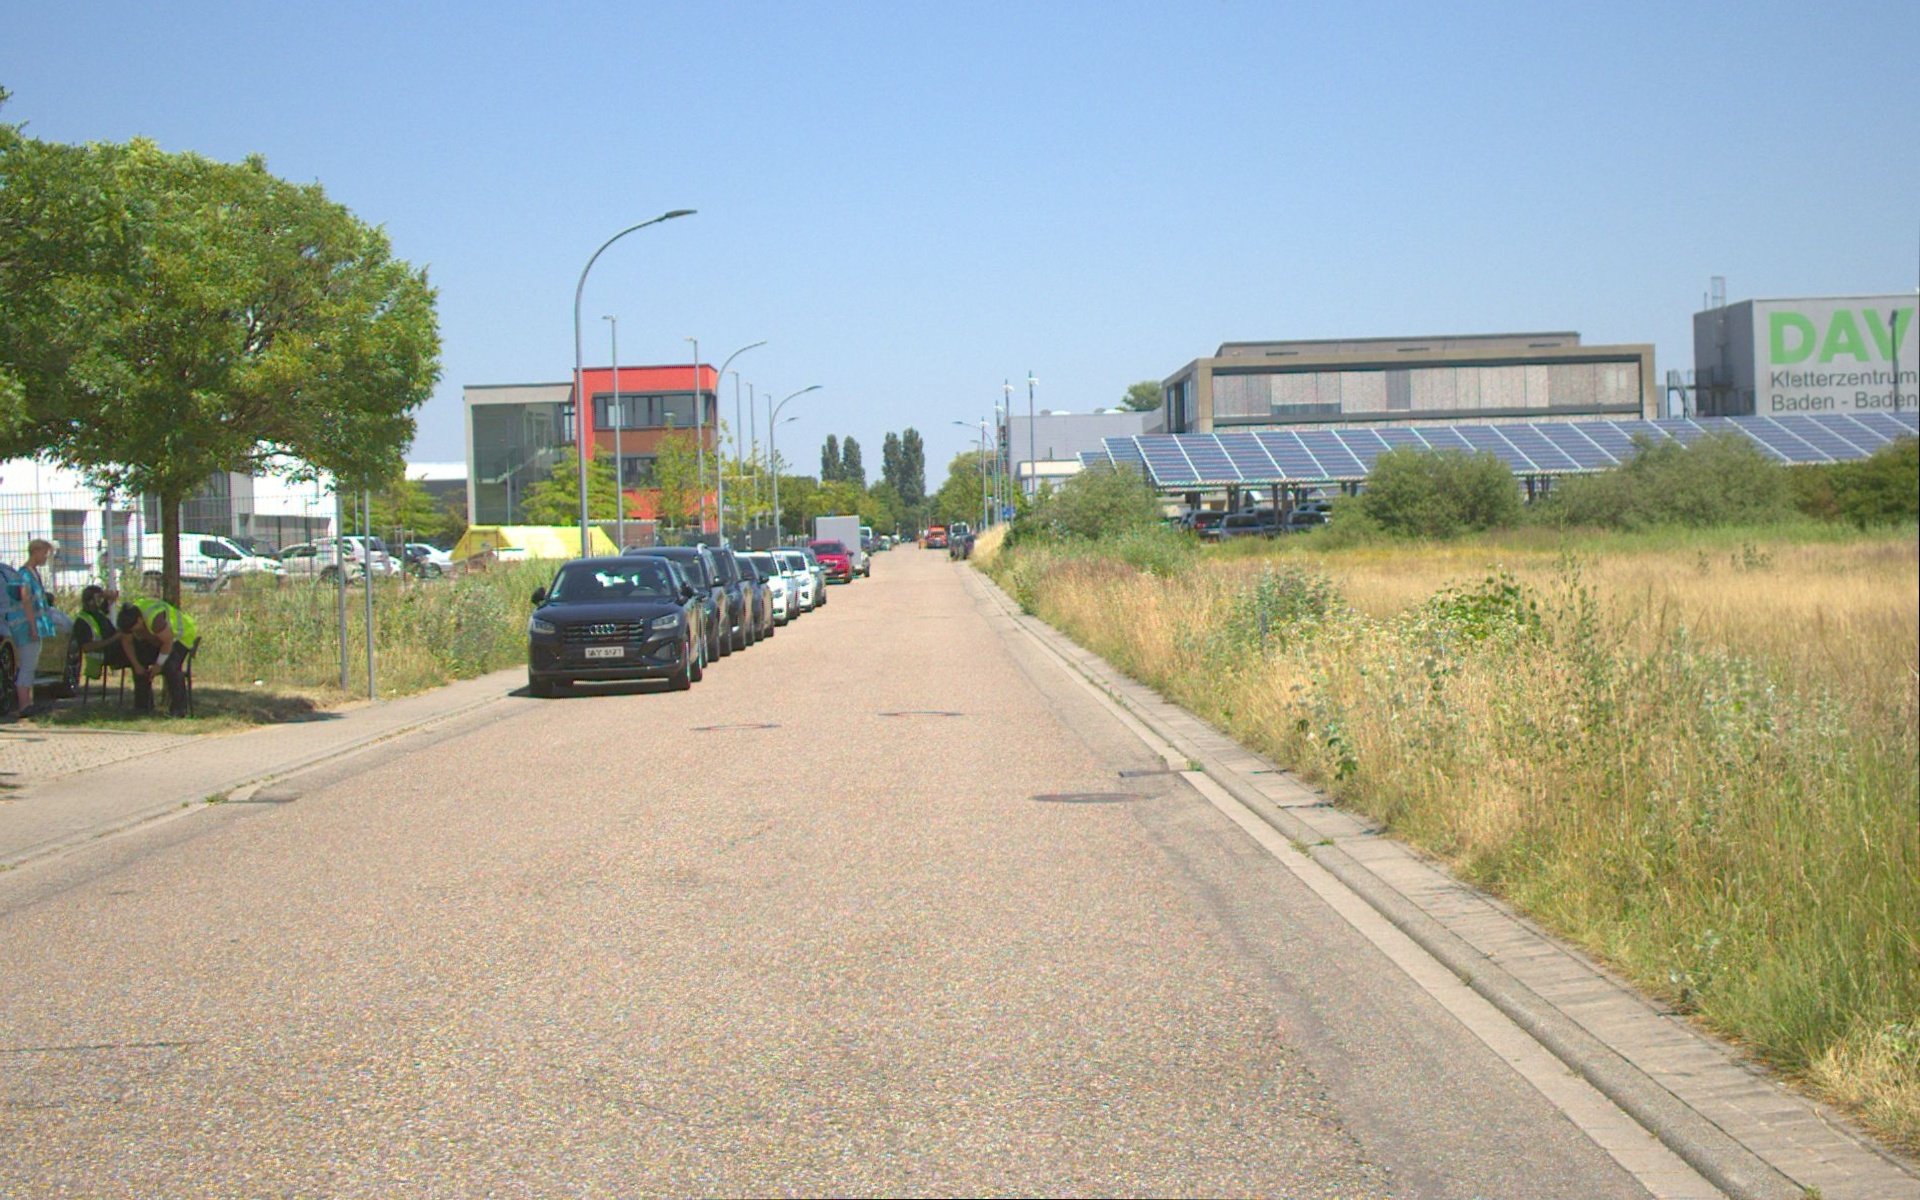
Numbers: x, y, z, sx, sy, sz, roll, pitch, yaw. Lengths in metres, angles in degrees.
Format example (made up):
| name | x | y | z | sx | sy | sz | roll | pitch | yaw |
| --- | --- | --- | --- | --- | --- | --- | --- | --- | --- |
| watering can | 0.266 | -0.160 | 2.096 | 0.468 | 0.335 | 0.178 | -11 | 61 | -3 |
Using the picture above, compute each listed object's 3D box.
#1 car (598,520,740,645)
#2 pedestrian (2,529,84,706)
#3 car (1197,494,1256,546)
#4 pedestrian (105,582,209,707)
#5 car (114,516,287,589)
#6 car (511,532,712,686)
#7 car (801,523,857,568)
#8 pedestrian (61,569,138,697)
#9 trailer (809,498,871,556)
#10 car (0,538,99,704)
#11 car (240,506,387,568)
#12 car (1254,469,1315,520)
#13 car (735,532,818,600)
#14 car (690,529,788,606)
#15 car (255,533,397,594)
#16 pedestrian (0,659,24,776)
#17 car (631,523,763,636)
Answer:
| name | x | y | z | sx | sy | sz | roll | pitch | yaw |
| --- | --- | --- | --- | --- | --- | --- | --- | --- | --- |
| car | -4.183 | -0.289 | 49.957 | 1.677 | 1.657 | 4.236 | -2 | 2 | 0 |
| pedestrian | -8.397 | 0.154 | 31.483 | 0.506 | 1.590 | 0.753 | 1 | 1 | 2 |
| car | 10.893 | -3.273 | 140.932 | 1.993 | 2.007 | 4.000 | -2 | 1 | -1 |
| pedestrian | -7.323 | 0.401 | 31.374 | 0.750 | 1.095 | 0.646 | 1 | 1 | 4 |
| car | -22.061 | -1.395 | 99.962 | 4.528 | 1.936 | 2.031 | -2 | 1 | 0 |
| car | -3.921 | 0.057 | 39.273 | 1.926 | 1.562 | 4.190 | -2 | 2 | -2 |
| car | -4.625 | -1.948 | 121.758 | 1.787 | 1.515 | 3.983 | -2 | 1 | 0 |
| pedestrian | -8.193 | 0.304 | 32.753 | 0.506 | 1.187 | 0.753 | 1 | 1 | 2 |
| trailer | -4.624 | -2.834 | 133.265 | 2.201 | 2.130 | 4.286 | -2 | 1 | 0 |
| car | -9.738 | 0.161 | 32.903 | 1.926 | 1.459 | 4.693 | 1 | 1 | -2 |
| car | -21.997 | -2.152 | 117.085 | 4.528 | 1.936 | 2.031 | -2 | 1 | 0 |
| car | 13.303 | -4.308 | 141.009 | 1.993 | 2.007 | 4.000 | -2 | 1 | -1 |
| car | -4.423 | -0.847 | 83.481 | 1.787 | 1.515 | 3.983 | -2 | 2 | 0 |
| car | -4.613 | -0.700 | 72.261 | 1.787 | 1.515 | 3.983 | -2 | 1 | -1 |
| car | -22.129 | -1.281 | 120.155 | 4.528 | 1.936 | 2.031 | -2 | 1 | 0 |
| pedestrian | -6.929 | 0.760 | 22.535 | 1.358 | 0.746 | 0.753 | 1 | 1 | 2 |
| car | -4.188 | -0.368 | 55.327 | 1.768 | 1.657 | 4.552 | -2 | 2 | 0 |
